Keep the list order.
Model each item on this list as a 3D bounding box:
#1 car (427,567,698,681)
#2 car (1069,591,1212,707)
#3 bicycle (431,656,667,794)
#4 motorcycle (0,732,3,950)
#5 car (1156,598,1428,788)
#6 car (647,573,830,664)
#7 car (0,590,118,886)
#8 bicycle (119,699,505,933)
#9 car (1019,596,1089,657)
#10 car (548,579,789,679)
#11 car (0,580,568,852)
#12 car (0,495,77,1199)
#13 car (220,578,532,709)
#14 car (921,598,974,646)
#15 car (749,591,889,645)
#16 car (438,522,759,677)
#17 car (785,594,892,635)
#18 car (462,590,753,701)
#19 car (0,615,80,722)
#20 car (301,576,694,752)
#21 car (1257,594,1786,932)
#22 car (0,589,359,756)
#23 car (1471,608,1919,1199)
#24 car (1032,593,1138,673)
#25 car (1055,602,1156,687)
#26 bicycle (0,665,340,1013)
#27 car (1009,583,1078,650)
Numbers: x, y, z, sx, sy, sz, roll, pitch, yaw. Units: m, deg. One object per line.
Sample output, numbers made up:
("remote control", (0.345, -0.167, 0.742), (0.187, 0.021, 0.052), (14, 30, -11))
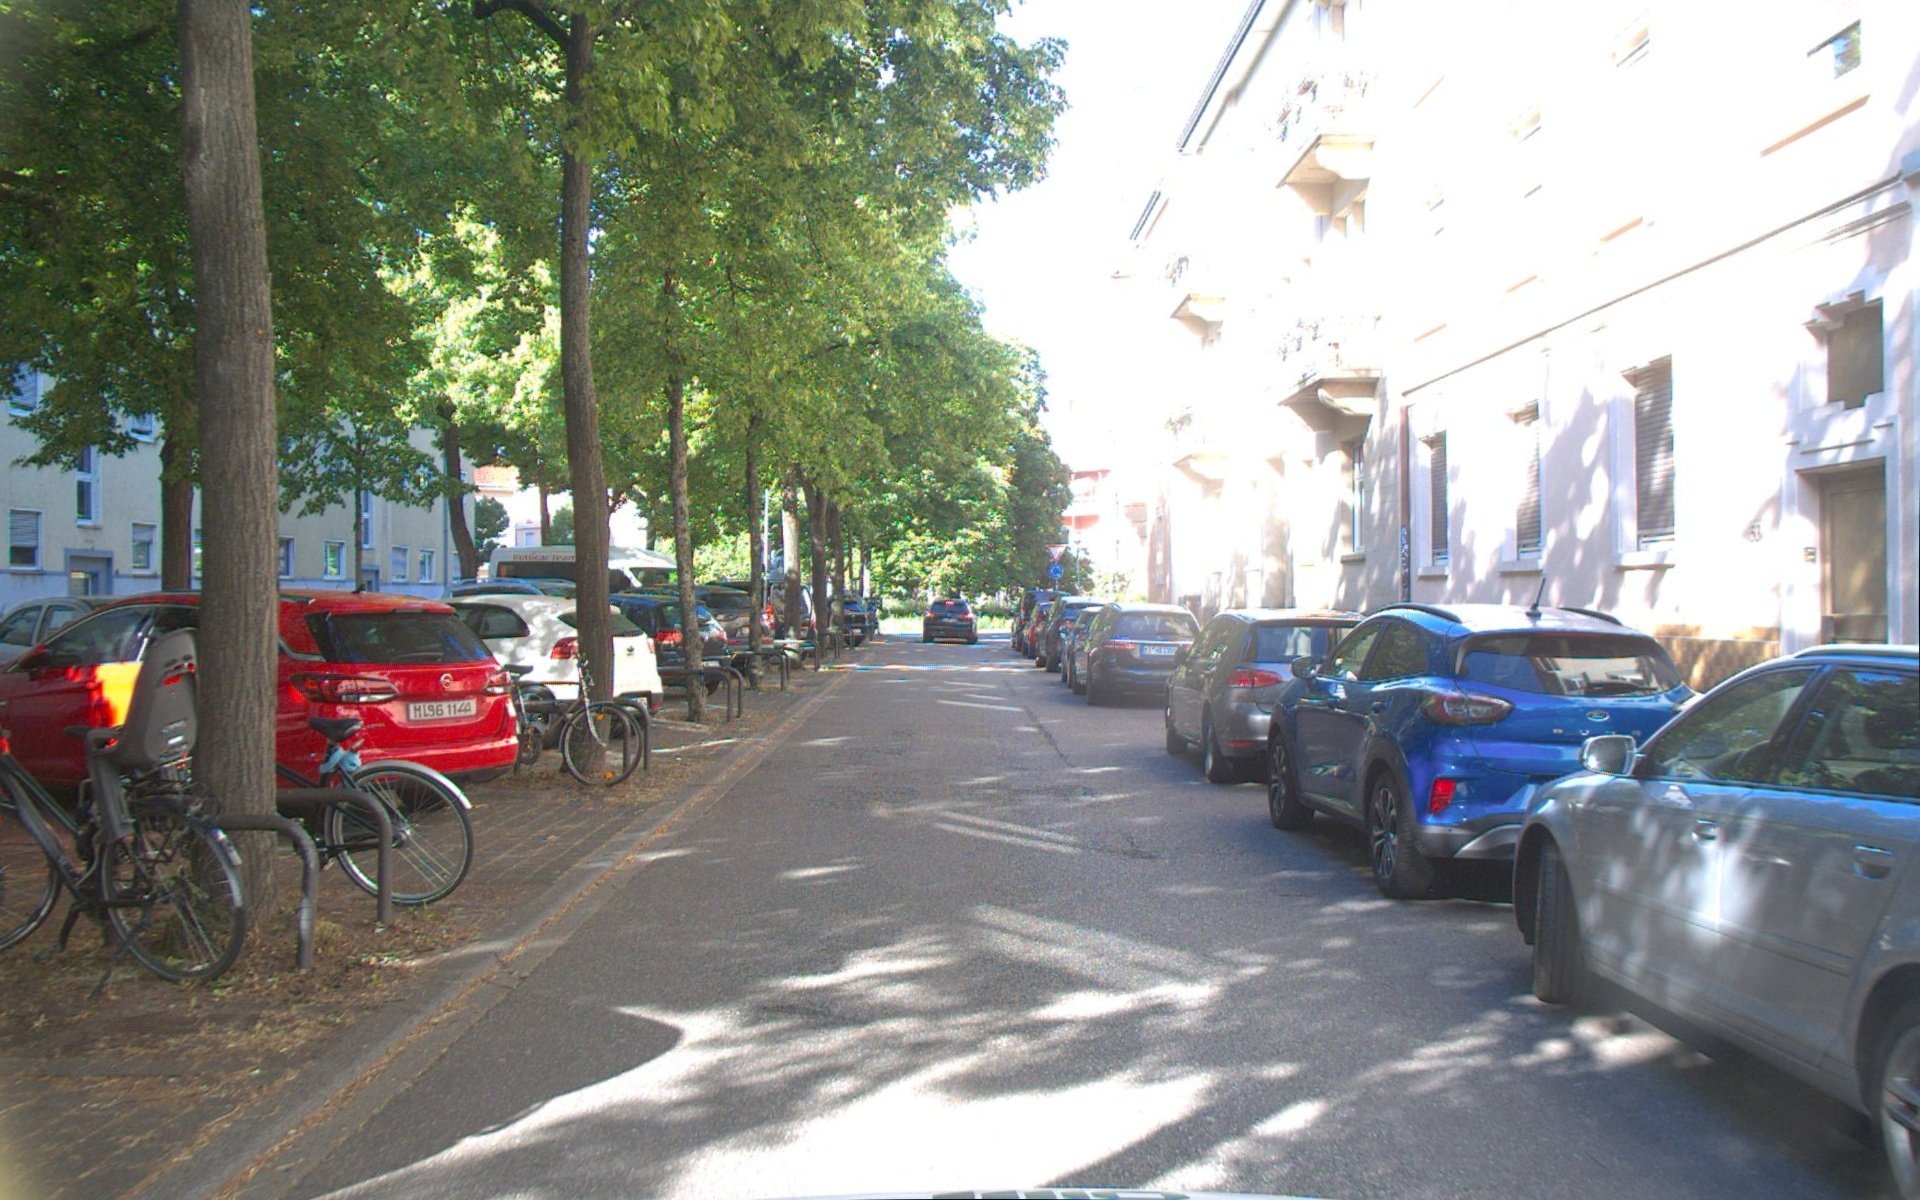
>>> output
("car", (-6.753, 0.401, 28.045), (4.294, 1.808, 1.897), (-1, -1, 27))
("car", (2.690, 0.677, 25.516), (1.768, 1.591, 4.321), (-1, 0, 1))
("bicycle", (-3.175, 0.947, 12.769), (1.772, 1.011, 0.426), (0, 0, 15))
("motorcycle", (-4.741, 0.817, 6.620), (1.500, 1.277, 0.635), (-1, 0, -38))
("car", (2.903, 0.746, 15.263), (1.658, 1.493, 4.004), (1, 0, -1))
("car", (-4.960, 0.395, 36.933), (3.771, 1.921, 1.838), (0, 1, 34))
("car", (-6.764, 0.698, 9.082), (4.024, 1.498, 1.869), (0, 0, 28))
("bicycle", (-3.027, 0.970, 7.689), (1.858, 0.935, 0.379), (1, 0, 19))
("car", (2.580, 0.697, 46.320), (1.612, 1.564, 3.999), (3, 0, -1))
("car", (-5.323, 0.493, 30.112), (4.180, 1.670, 1.653), (1, 0, 28))
("car", (-5.001, 0.644, 11.250), (4.526, 1.512, 1.758), (1, 0, 28))
("car", (-4.174, 0.585, 3.749), (3.996, 1.682, 1.861), (1, 0, 27))
("car", (-7.765, 0.553, 21.945), (3.830, 1.583, 1.843), (-1, 0, 30))
("car", (-0.395, 0.713, 56.488), (1.679, 1.509, 4.145), (-1, 0, 1))
("car", (-4.196, 0.538, 48.944), (4.012, 1.492, 1.863), (1, -1, -8))
("car", (-7.485, 0.043, 34.442), (5.937, 2.668, 2.457), (-4, -2, 15))
("car", (-4.685, 0.552, 63.462), (4.064, 1.507, 1.767), (0, -1, 40))
("car", (-5.162, 0.631, 24.155), (4.018, 1.507, 1.729), (0, -1, 29))
("car", (-15.491, 1.097, 26.189), (1.445, 1.586, 3.183), (-2, 1, -2))
("car", (-4.769, 0.592, 17.086), (3.609, 1.624, 1.772), (1, 0, 25))
("car", (3.059, 0.769, 9.991), (1.731, 1.579, 4.183), (-1, 0, 0))
("car", (-7.925, 0.632, 16.306), (3.916, 1.461, 1.792), (0, 0, 33))
("car", (3.147, 0.774, 5.190), (1.733, 1.456, 4.290), (0, 0, 0))
("car", (2.770, 0.689, 37.578), (1.827, 1.672, 4.489), (1, 0, -3))
("car", (2.639, 0.775, 30.687), (1.557, 1.440, 3.632), (1, 0, 0))
("bicycle", (-3.190, 0.869, 6.340), (1.650, 1.179, 0.379), (1, 0, 19))
("car", (2.553, 0.488, 51.419), (1.765, 1.903, 4.272), (3, 0, -1))
